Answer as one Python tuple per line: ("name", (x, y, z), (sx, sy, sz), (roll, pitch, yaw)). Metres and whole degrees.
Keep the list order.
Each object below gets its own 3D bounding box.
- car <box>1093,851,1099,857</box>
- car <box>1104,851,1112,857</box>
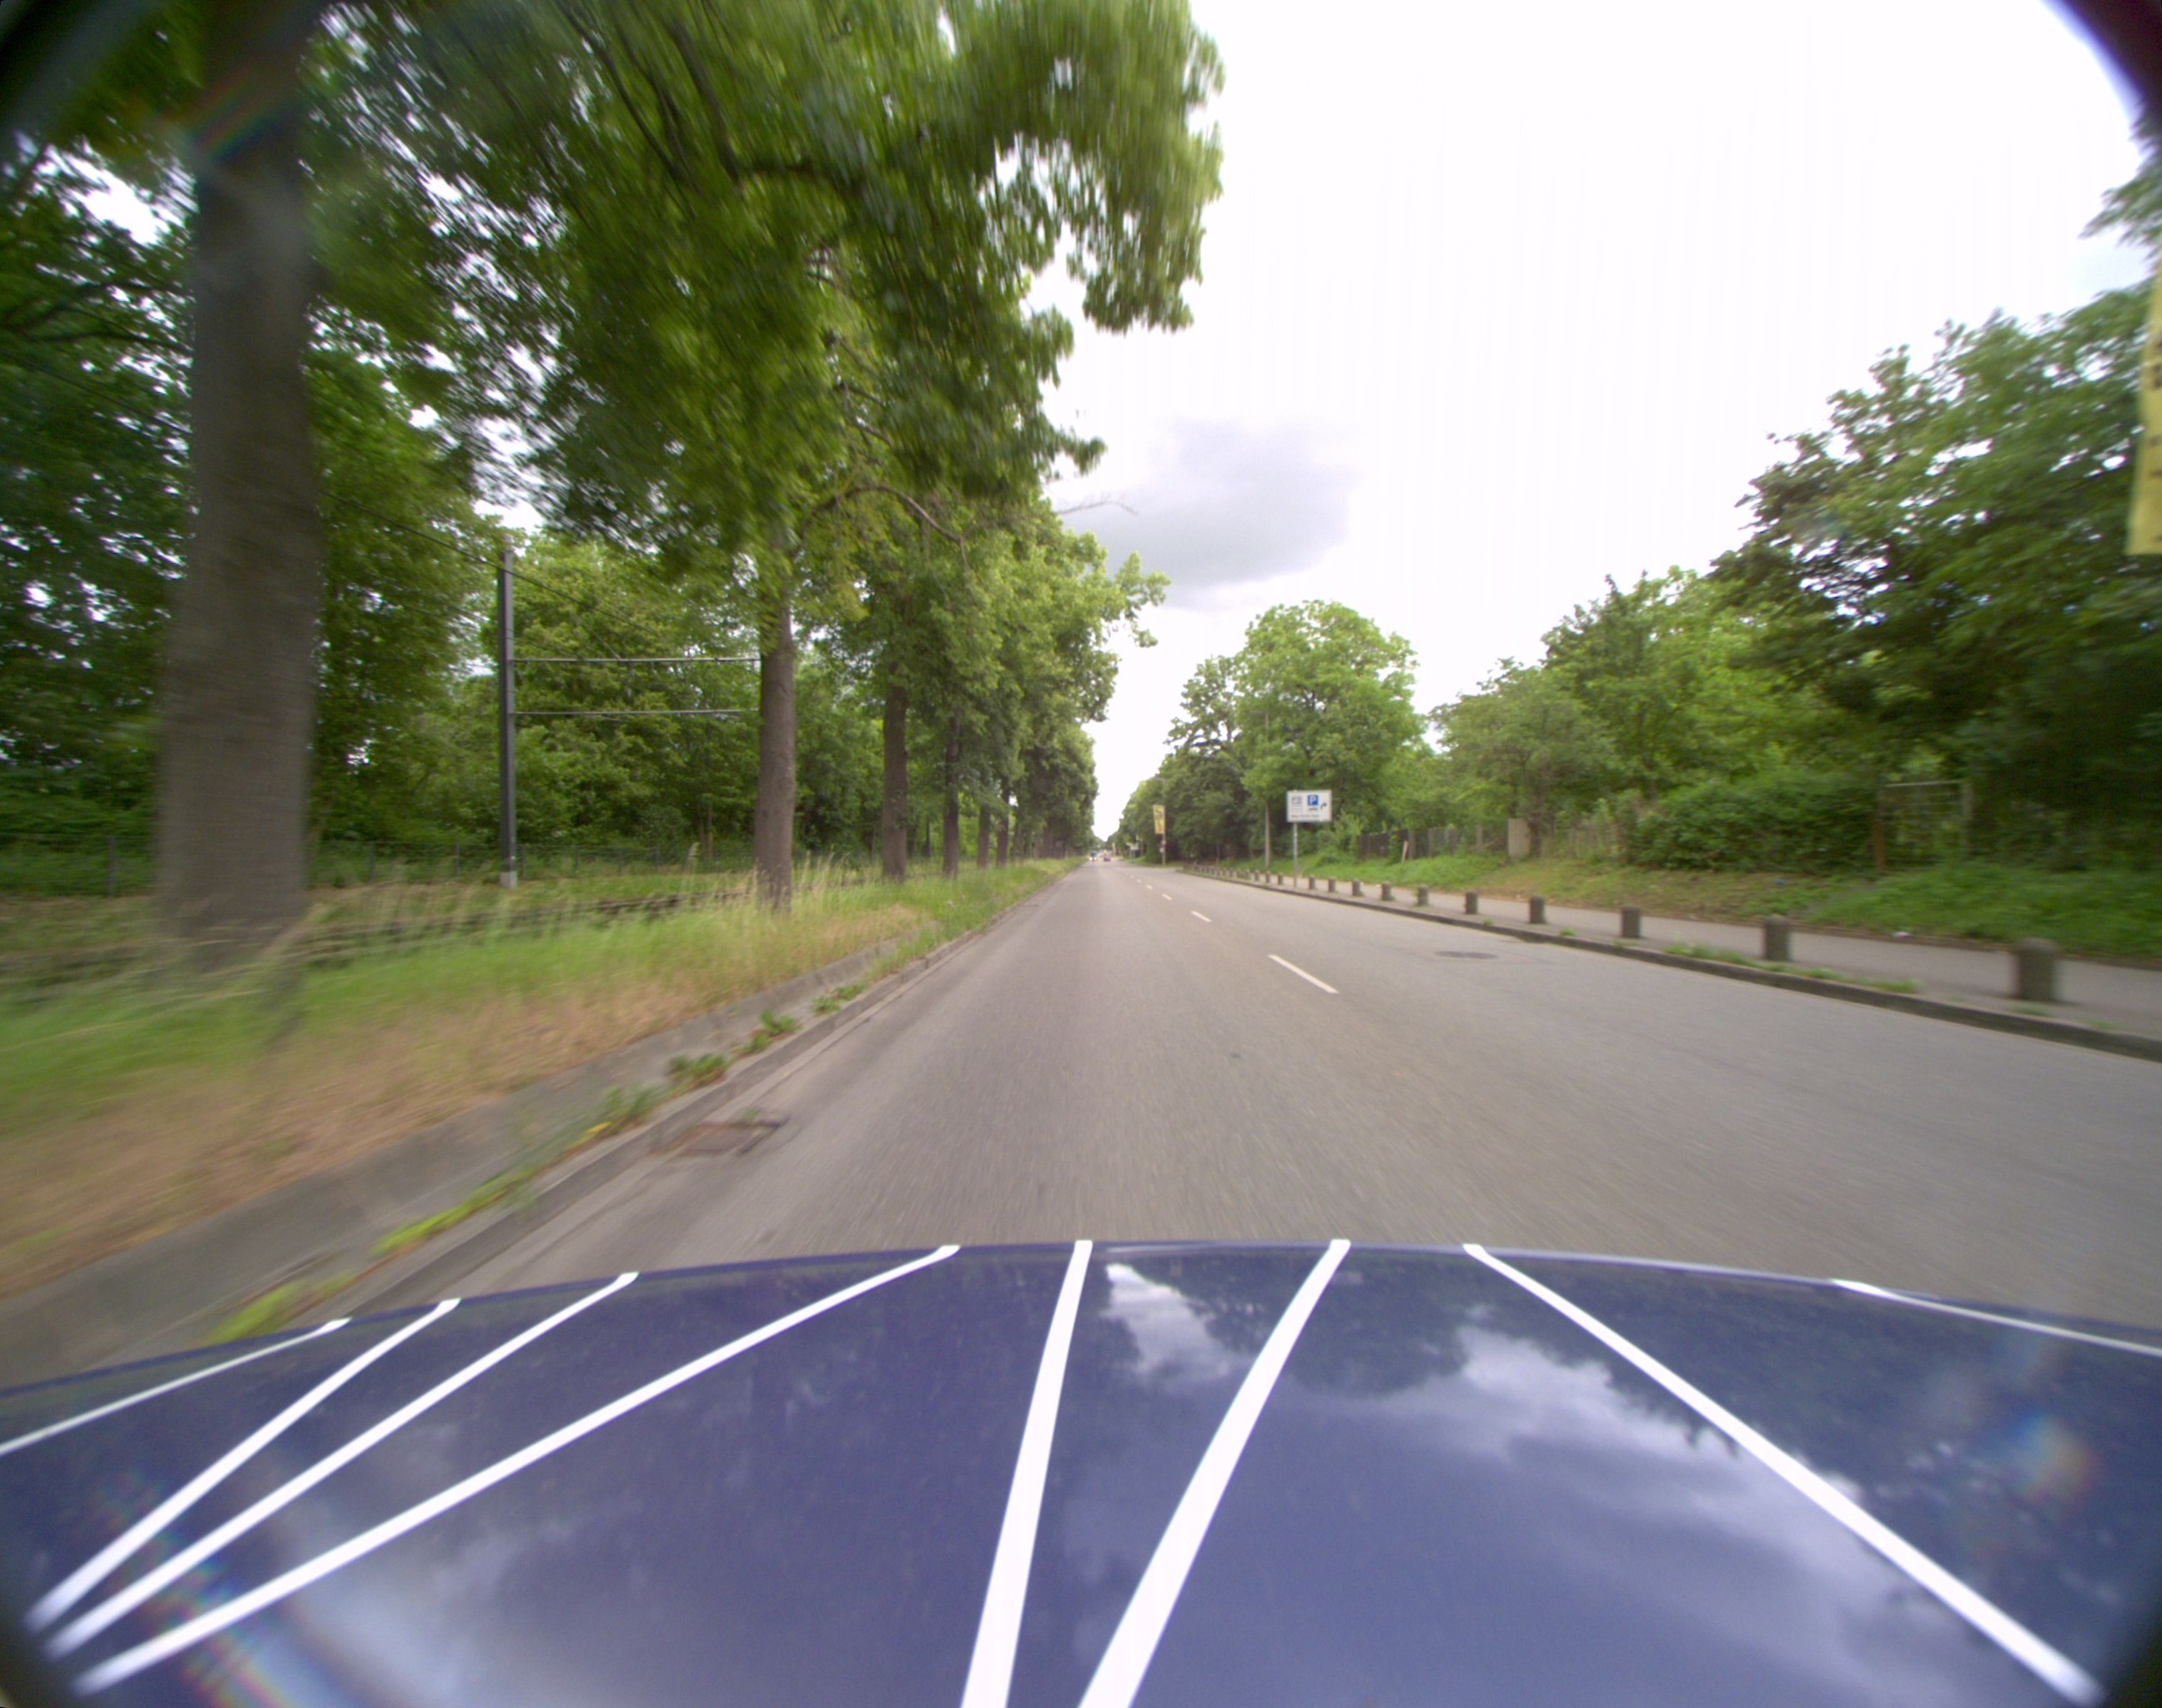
("car", (4.793, -0.017, 247.800), (1.762, 1.601, 3.999), (-2, 1, 1))
("car", (7.090, 0.044, 199.783), (1.762, 1.601, 3.999), (-2, 1, 1))
